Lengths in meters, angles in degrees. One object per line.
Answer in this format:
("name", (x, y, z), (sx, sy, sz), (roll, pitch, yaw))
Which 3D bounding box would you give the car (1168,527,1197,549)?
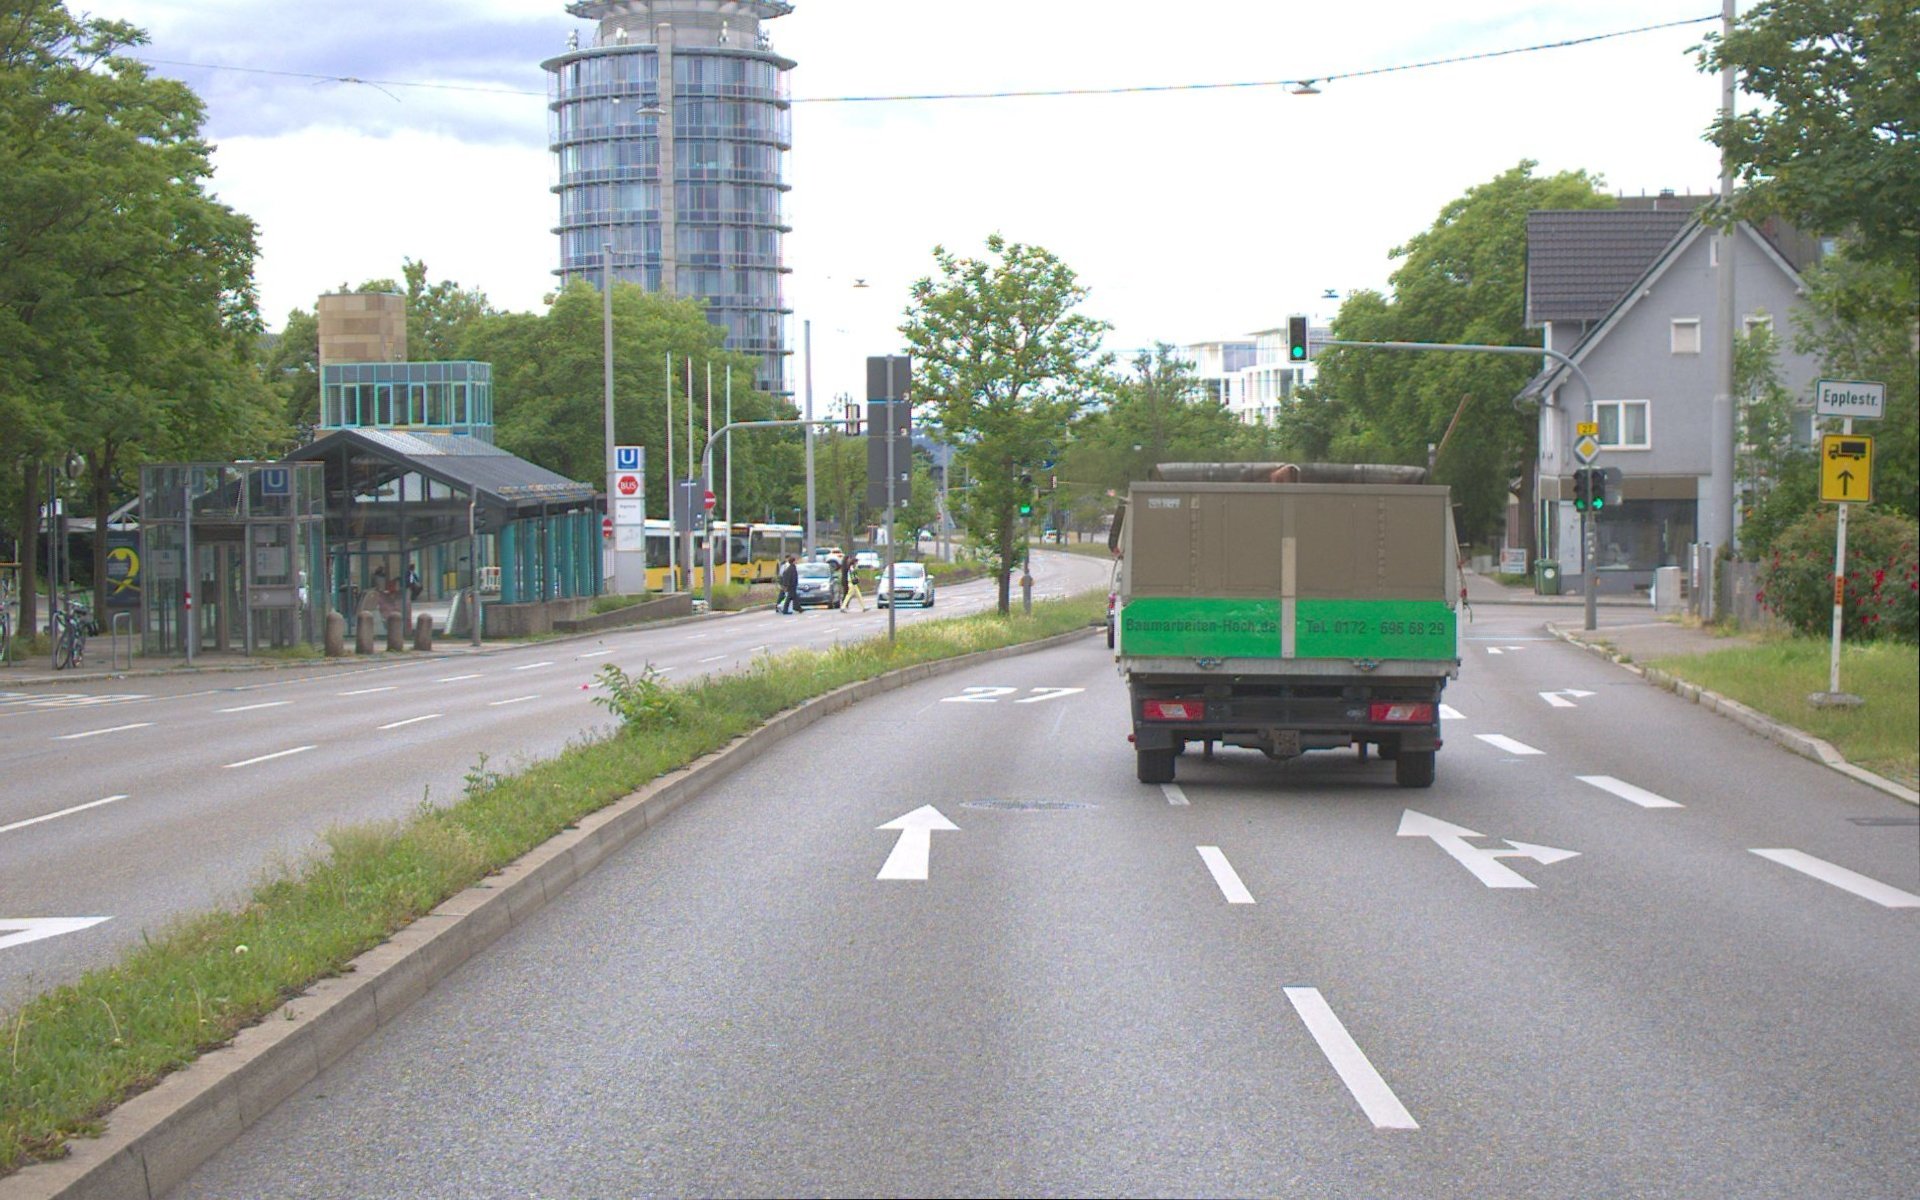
("car", (15.430, -4.290, 238.516), (1.994, 1.514, 4.000), (-1, 1, 4))

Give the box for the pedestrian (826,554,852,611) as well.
("pedestrian", (-3.669, -0.529, 104.060), (0.745, 1.710, 0.583), (-1, 0, 1))

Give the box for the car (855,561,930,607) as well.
("car", (-2.207, -0.533, 113.987), (1.994, 1.481, 3.999), (-1, 0, 6))

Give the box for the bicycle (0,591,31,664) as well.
("bicycle", (-15.547, 0.444, 55.683), (0.713, 1.132, 1.957), (-1, 1, -8))

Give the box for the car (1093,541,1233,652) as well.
("car", (3.524, -0.090, 58.927), (1.994, 1.824, 3.999), (0, 1, 9))

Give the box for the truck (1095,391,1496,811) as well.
("truck", (2.370, -0.103, 24.790), (2.471, 2.602, 6.547), (1, 2, 5))

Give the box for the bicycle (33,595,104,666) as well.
("bicycle", (-14.435, 0.486, 55.698), (0.830, 1.080, 1.936), (-1, 1, -7))

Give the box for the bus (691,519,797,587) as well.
("bus", (-11.188, -2.433, 179.222), (2.833, 3.419, 10.728), (-1, 0, 11))

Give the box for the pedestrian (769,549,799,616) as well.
("pedestrian", (-5.320, -0.517, 103.850), (0.830, 2.007, 0.546), (-1, 0, 1))

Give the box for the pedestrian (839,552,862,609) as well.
("pedestrian", (-3.303, -0.583, 103.395), (0.653, 1.710, 0.452), (-1, 0, 1))

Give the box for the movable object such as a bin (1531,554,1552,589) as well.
("movable object such as a bin", (17.591, -0.857, 104.065), (0.604, 1.056, 0.589), (1, 1, 9))

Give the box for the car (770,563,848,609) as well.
("car", (-5.006, -0.471, 114.581), (1.994, 1.481, 3.999), (-1, 0, 6))

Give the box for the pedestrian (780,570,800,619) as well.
("pedestrian", (-5.192, -0.180, 104.884), (0.543, 1.491, 0.486), (-1, 0, 5))

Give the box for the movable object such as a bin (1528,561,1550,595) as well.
("movable object such as a bin", (17.644, -0.667, 104.775), (0.616, 1.039, 0.589), (1, 1, 9))

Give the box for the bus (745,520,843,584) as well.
("bus", (-9.097, -2.640, 189.770), (2.833, 3.419, 10.728), (-1, 0, 11))

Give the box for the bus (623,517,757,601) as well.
("bus", (-11.467, -1.730, 147.264), (2.833, 3.419, 10.728), (-1, 0, 11))
